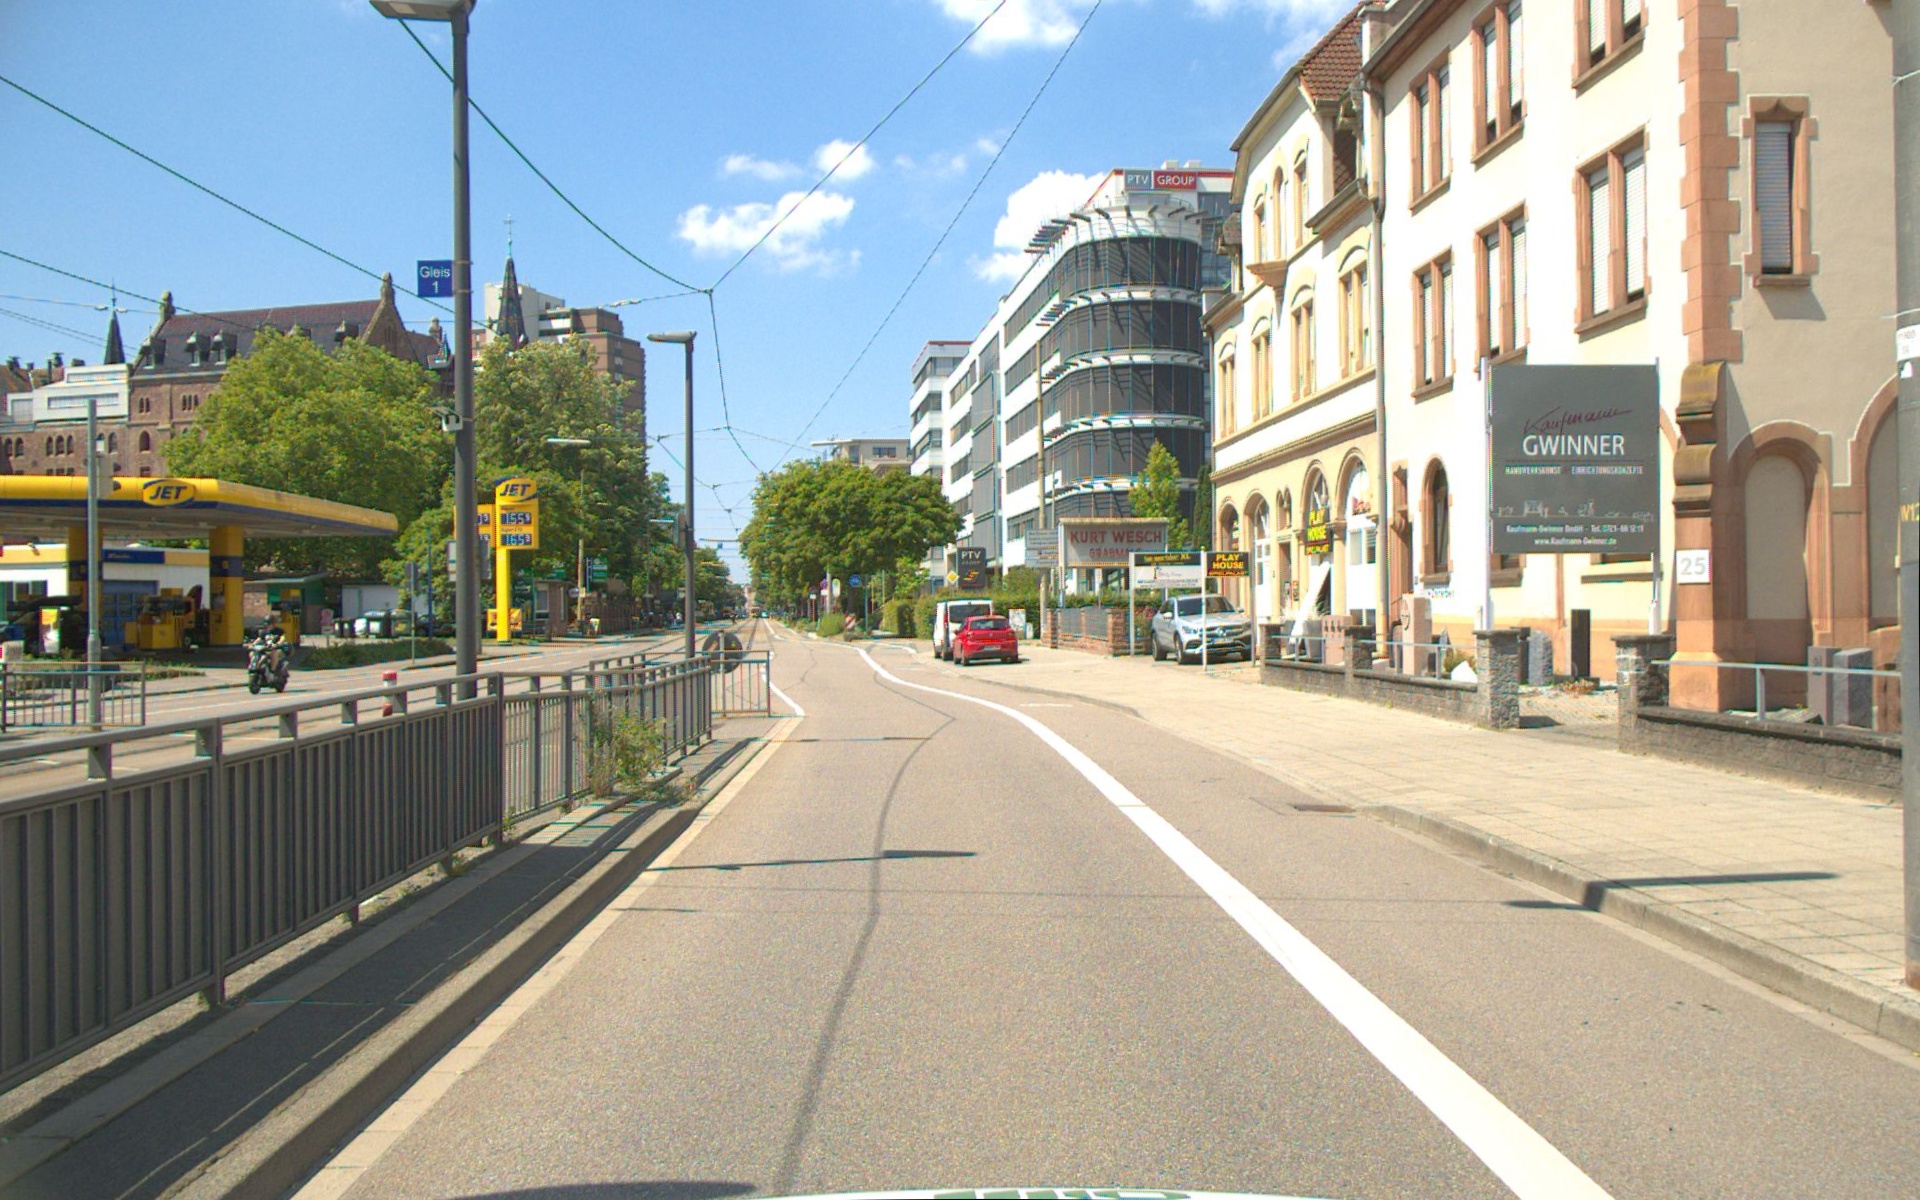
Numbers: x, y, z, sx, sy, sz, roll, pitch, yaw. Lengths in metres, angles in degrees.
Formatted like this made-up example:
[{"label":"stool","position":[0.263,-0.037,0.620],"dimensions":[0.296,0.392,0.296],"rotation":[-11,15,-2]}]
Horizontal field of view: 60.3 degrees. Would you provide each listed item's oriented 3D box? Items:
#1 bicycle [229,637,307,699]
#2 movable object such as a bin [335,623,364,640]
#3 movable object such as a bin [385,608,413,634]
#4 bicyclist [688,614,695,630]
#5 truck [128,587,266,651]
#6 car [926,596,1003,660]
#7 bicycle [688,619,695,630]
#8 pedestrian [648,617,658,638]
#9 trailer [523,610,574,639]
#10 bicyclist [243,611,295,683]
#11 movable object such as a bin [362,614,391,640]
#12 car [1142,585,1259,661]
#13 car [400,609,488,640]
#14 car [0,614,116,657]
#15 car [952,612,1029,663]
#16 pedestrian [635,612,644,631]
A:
[{"label":"bicycle","position":[-15.026,1.462,35.988],"dimensions":[0.800,1.244,2.387],"rotation":[-1,0,-3]},{"label":"movable object such as a bin","position":[-33.477,1.740,90.675],"dimensions":[1.315,0.889,0.759],"rotation":[-1,0,13]},{"label":"movable object such as a bin","position":[-30.241,1.148,89.138],"dimensions":[1.319,1.378,0.757],"rotation":[0,0,-9]},{"label":"bicyclist","position":[-29.308,2.387,180.589],"dimensions":[0.630,1.709,0.813],"rotation":[-1,-1,-8]},{"label":"truck","position":[-31.422,0.776,68.290],"dimensions":[1.953,2.542,5.201],"rotation":[-1,-1,23]},{"label":"car","position":[0.104,0.932,57.613],"dimensions":[1.956,2.026,5.506],"rotation":[-3,0,-7]},{"label":"bicycle","position":[-29.267,2.656,180.519],"dimensions":[0.687,1.225,2.236],"rotation":[-1,0,-7]},{"label":"pedestrian","position":[-26.871,2.386,144.877],"dimensions":[0.799,1.801,0.923],"rotation":[0,-1,-7]},{"label":"trailer","position":[-25.075,1.495,100.884],"dimensions":[2.776,1.733,1.619],"rotation":[0,-1,-6]},{"label":"bicyclist","position":[-15.052,1.017,36.047],"dimensions":[0.743,1.530,1.064],"rotation":[-1,-1,-5]},{"label":"movable object such as a bin","position":[-31.748,1.465,90.003],"dimensions":[1.316,1.378,0.759],"rotation":[-1,-1,5]},{"label":"car","position":[5.897,0.553,41.040],"dimensions":[1.841,1.652,4.635],"rotation":[-4,0,-4]},{"label":"car","position":[-28.302,1.342,90.826],"dimensions":[1.961,1.618,4.315],"rotation":[-1,0,37]},{"label":"car","position":[-33.811,1.304,61.264],"dimensions":[1.952,1.505,4.342],"rotation":[-1,0,21]},{"label":"car","position":[0.897,1.131,50.886],"dimensions":[1.955,1.467,4.012],"rotation":[-1,0,-5]},{"label":"pedestrian","position":[-29.768,2.036,153.513],"dimensions":[0.729,1.758,0.866],"rotation":[0,-1,-7]}]
